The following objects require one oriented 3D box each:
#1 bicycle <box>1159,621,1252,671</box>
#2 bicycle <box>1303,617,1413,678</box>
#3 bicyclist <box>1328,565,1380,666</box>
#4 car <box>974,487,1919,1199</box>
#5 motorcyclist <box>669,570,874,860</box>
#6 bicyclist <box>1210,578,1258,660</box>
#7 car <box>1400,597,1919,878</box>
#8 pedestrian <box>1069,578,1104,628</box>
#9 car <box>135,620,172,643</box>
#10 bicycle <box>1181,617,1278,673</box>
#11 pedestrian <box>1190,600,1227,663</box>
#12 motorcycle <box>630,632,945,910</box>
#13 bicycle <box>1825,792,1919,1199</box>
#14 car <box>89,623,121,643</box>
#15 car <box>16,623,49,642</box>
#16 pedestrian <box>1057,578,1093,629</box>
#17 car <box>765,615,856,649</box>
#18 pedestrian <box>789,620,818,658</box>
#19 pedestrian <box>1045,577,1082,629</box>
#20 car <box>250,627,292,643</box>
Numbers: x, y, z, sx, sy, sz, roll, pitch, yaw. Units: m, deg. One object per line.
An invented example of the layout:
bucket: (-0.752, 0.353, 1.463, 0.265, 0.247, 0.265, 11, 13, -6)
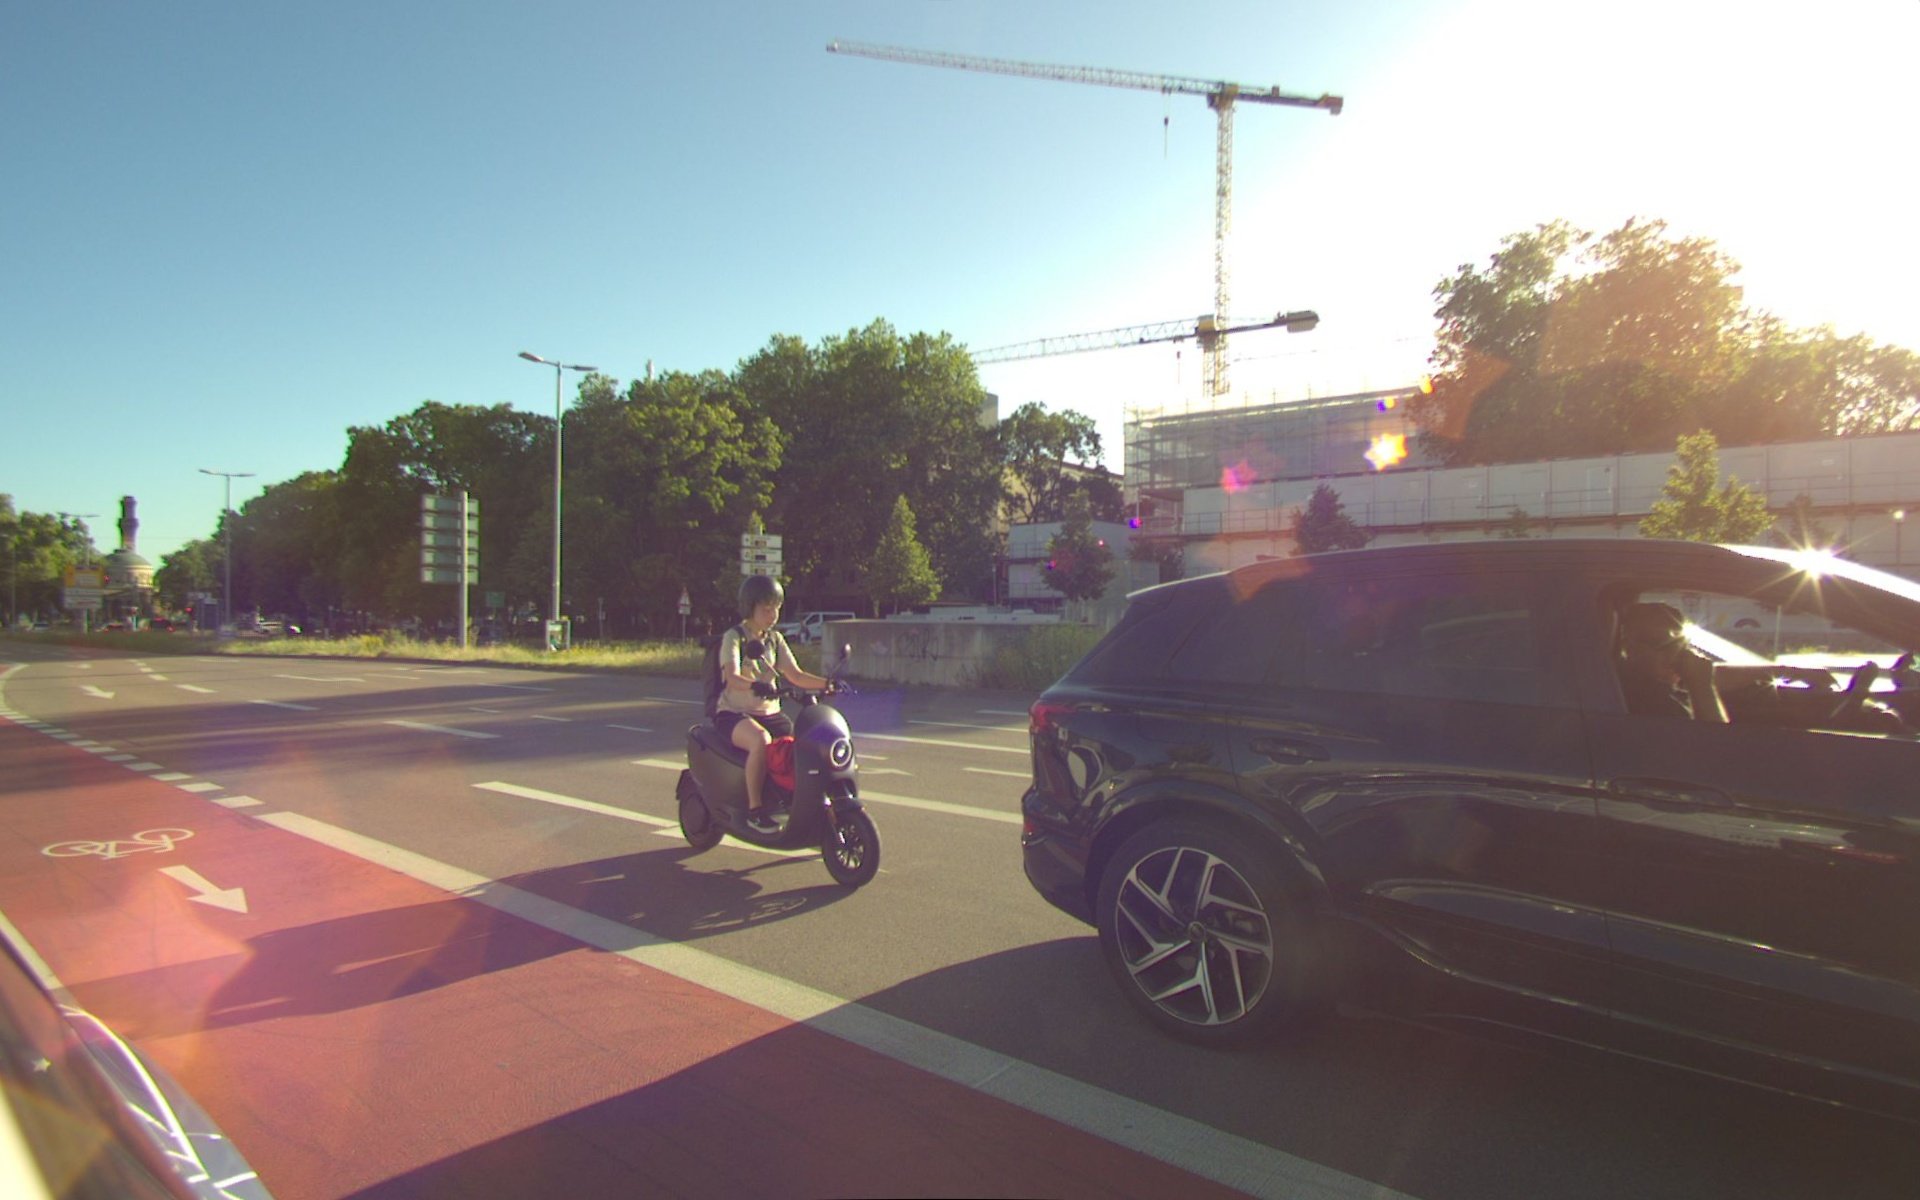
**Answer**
bicycle: (9.441, 1.738, 39.096, 3.355, 1.824, 1.066, -1, 0, 40)
bicycle: (12.462, 1.481, 31.773, 3.079, 1.824, 0.831, -3, -1, 40)
bicyclist: (12.392, 0.477, 31.836, 1.305, 3.126, 0.831, -1, 0, 39)
car: (2.417, 0.577, 3.028, 4.677, 1.647, 1.753, -1, 0, 40)
motorcyclist: (-1.078, 0.597, 5.771, 0.917, 1.485, 0.717, -2, -1, 41)
bicyclist: (9.309, 0.632, 34.388, 1.305, 2.749, 0.831, -1, 0, 39)
car: (4.975, 0.756, 6.547, 3.603, 1.497, 1.477, -2, -1, 41)
pedestrian: (5.201, 0.127, 41.630, 1.135, 2.029, 0.930, -1, 0, 35)
car: (-68.972, 2.664, 86.519, 3.998, 1.841, 1.796, -1, 0, 41)
bicycle: (9.151, 1.523, 34.486, 3.079, 1.824, 0.831, -3, -1, 40)
pedestrian: (9.577, 1.192, 38.987, 1.018, 2.393, 1.007, -1, 0, 41)
motorcycle: (-1.032, 0.844, 5.731, 1.883, 1.303, 0.715, -2, -1, 41)
bicycle: (1.378, 0.784, 0.164, 1.829, 1.227, 0.610, -2, -1, 39)
car: (-79.871, 3.044, 94.531, 3.945, 1.802, 1.725, -1, 0, 41)
car: (-87.019, 3.035, 94.952, 3.998, 1.699, 1.826, -1, 0, 41)
pedestrian: (4.626, 0.135, 40.822, 1.135, 2.029, 0.930, -1, 0, 35)
car: (-9.061, 1.933, 61.846, 2.065, 1.950, 5.443, -1, -2, 42)
pedestrian: (-7.738, 1.917, 50.047, 1.018, 1.845, 0.977, -1, 0, 37)
pedestrian: (4.100, 0.127, 40.021, 1.135, 2.029, 0.930, -1, 0, 35)
car: (-81.672, 4.145, 119.992, 3.936, 1.699, 1.854, -1, 0, -39)
